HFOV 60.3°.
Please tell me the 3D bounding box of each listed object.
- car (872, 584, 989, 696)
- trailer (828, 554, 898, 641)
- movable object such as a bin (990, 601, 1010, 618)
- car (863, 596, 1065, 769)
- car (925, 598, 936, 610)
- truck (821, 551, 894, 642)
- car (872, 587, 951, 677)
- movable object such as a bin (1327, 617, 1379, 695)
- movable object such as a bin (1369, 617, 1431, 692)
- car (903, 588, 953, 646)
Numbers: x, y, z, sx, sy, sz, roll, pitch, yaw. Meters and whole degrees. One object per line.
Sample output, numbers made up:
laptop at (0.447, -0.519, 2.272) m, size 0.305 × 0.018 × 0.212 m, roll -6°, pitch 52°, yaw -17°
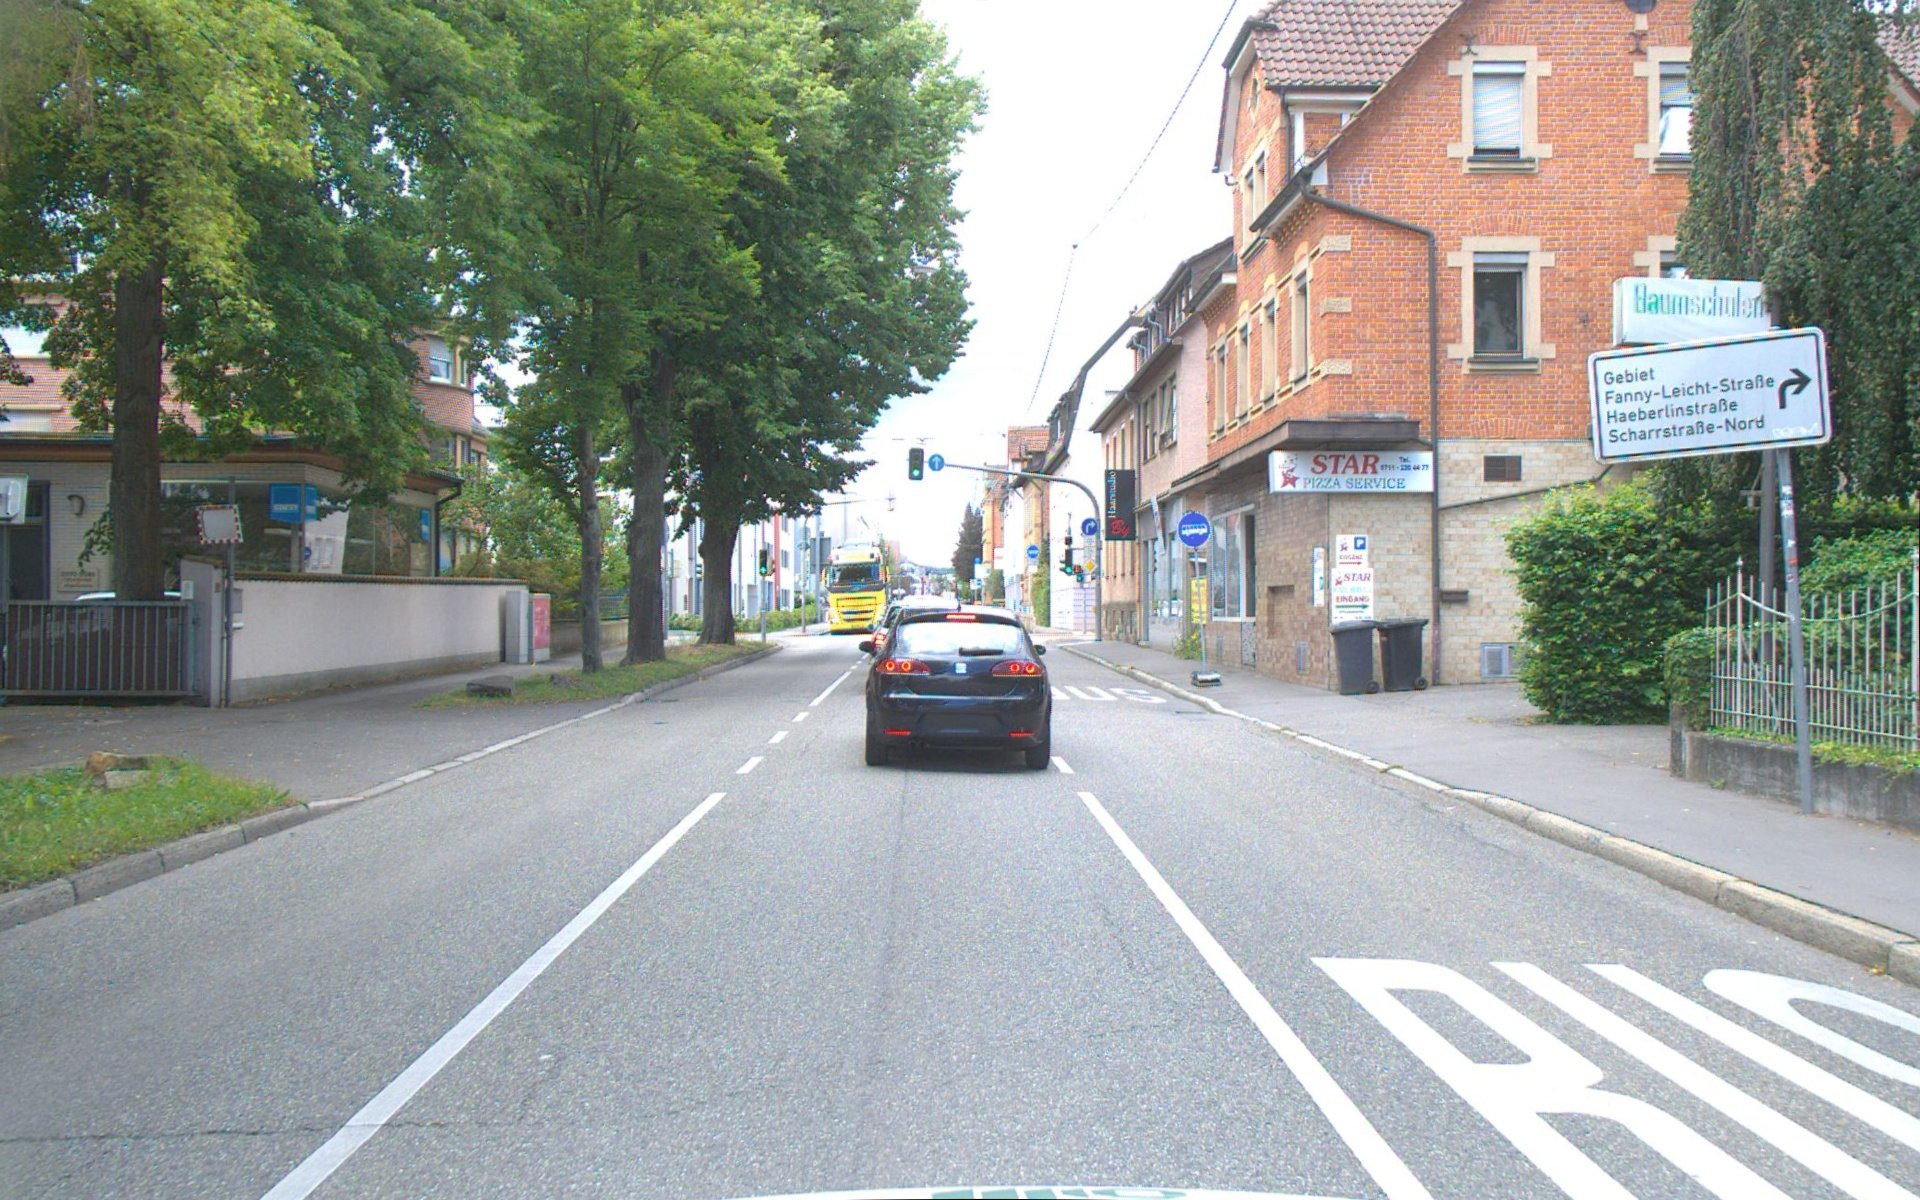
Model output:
car at (-0.507, 0.651, 27.892) m, size 1.805 × 1.723 × 3.998 m, roll 1°, pitch -1°, yaw -2°
trailer at (-4.652, -0.056, 81.845) m, size 2.800 × 3.875 × 14.387 m, roll 1°, pitch -1°, yaw -1°
movable object such as a bin at (3.706, 0.873, 152.996) m, size 1.781 × 1.462 × 1.992 m, roll 1°, pitch -1°, yaw 0°
car at (-0.004, 0.737, 16.286) m, size 1.723 × 1.467 × 3.999 m, roll 1°, pitch -1°, yaw -1°
car at (-4.356, 0.637, 242.619) m, size 1.500 × 1.723 × 3.692 m, roll 0°, pitch 0°, yaw -2°
truck at (-4.528, -0.100, 74.255) m, size 2.786 × 3.849 × 7.667 m, roll 1°, pitch -1°, yaw -1°
car at (-0.992, 0.648, 34.193) m, size 1.500 × 1.723 × 3.692 m, roll 1°, pitch -1°, yaw -2°
movable object such as a bin at (5.848, 0.824, 24.642) m, size 0.594 × 1.120 × 0.622 m, roll -2°, pitch -1°, yaw -1°
movable object such as a bin at (6.568, 0.811, 24.714) m, size 0.684 × 1.077 × 0.723 m, roll -2°, pitch -1°, yaw -1°
car at (-1.024, 0.540, 52.140) m, size 1.500 × 1.723 × 3.692 m, roll 1°, pitch -1°, yaw -2°
